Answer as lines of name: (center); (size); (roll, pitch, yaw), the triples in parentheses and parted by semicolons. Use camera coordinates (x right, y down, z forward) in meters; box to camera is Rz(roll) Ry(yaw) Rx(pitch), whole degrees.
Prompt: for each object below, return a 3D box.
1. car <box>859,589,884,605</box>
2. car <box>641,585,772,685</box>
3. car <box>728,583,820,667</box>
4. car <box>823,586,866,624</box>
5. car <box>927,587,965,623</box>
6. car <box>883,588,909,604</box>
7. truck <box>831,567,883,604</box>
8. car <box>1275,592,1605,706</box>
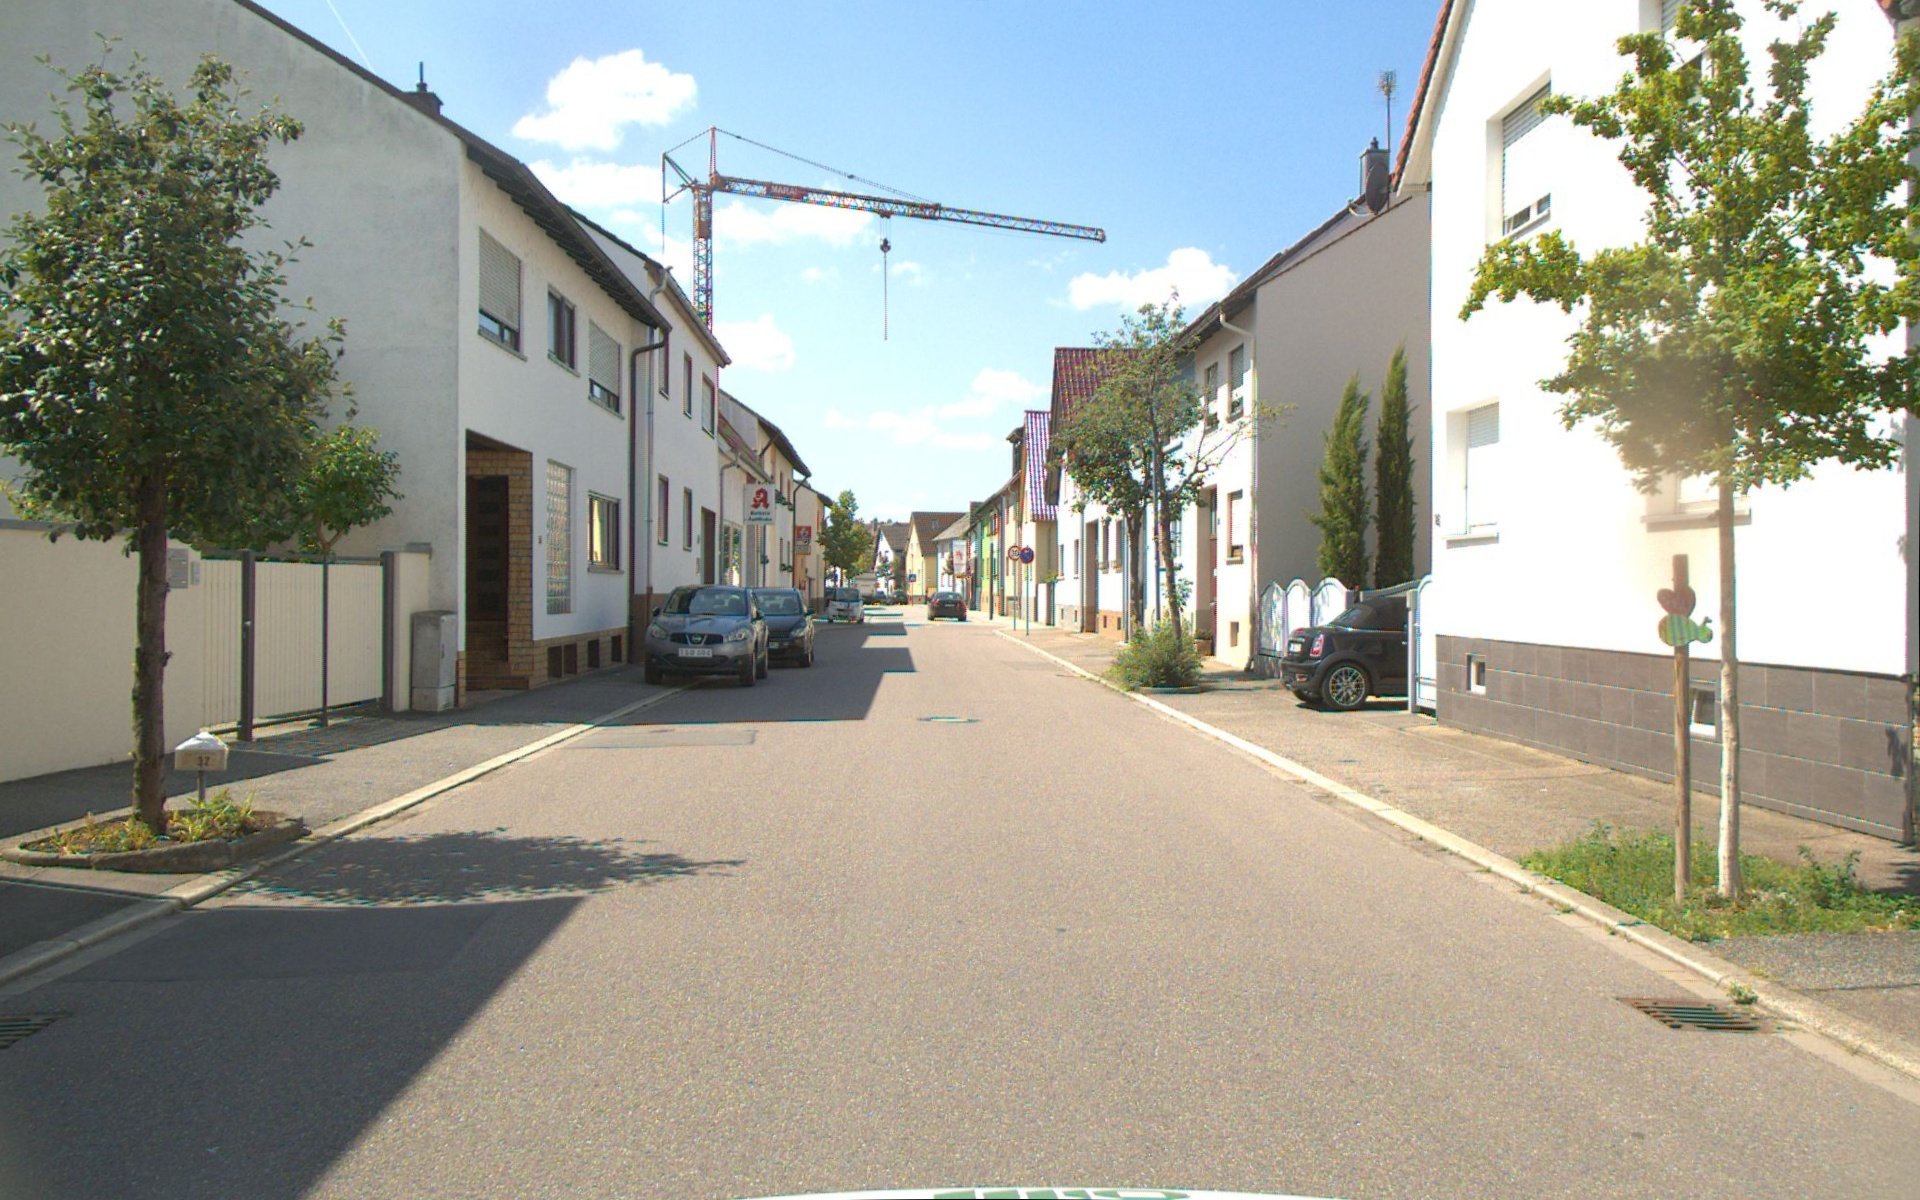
car: (-10.183, -0.297, 190.011); (1.793, 1.784, 4.208); (0, 0, -18)
car: (-4.173, 0.521, 27.775); (1.723, 1.551, 4.287); (0, 0, -3)
car: (-3.813, 0.478, 34.387); (1.620, 1.637, 4.059); (0, 0, -3)
car: (-5.126, 0.197, 73.744); (1.688, 1.583, 4.171); (2, 0, -1)
car: (-0.719, 0.249, 83.759); (1.747, 1.784, 3.998); (-1, 0, -3)
car: (-7.047, -0.444, 180.714); (1.755, 1.784, 4.206); (0, 0, -18)
truck: (-11.512, -1.528, 183.137); (3.321, 3.933, 13.875); (0, 0, -14)
car: (6.231, 0.611, 21.762); (3.843, 1.439, 1.740); (0, 0, -1)
